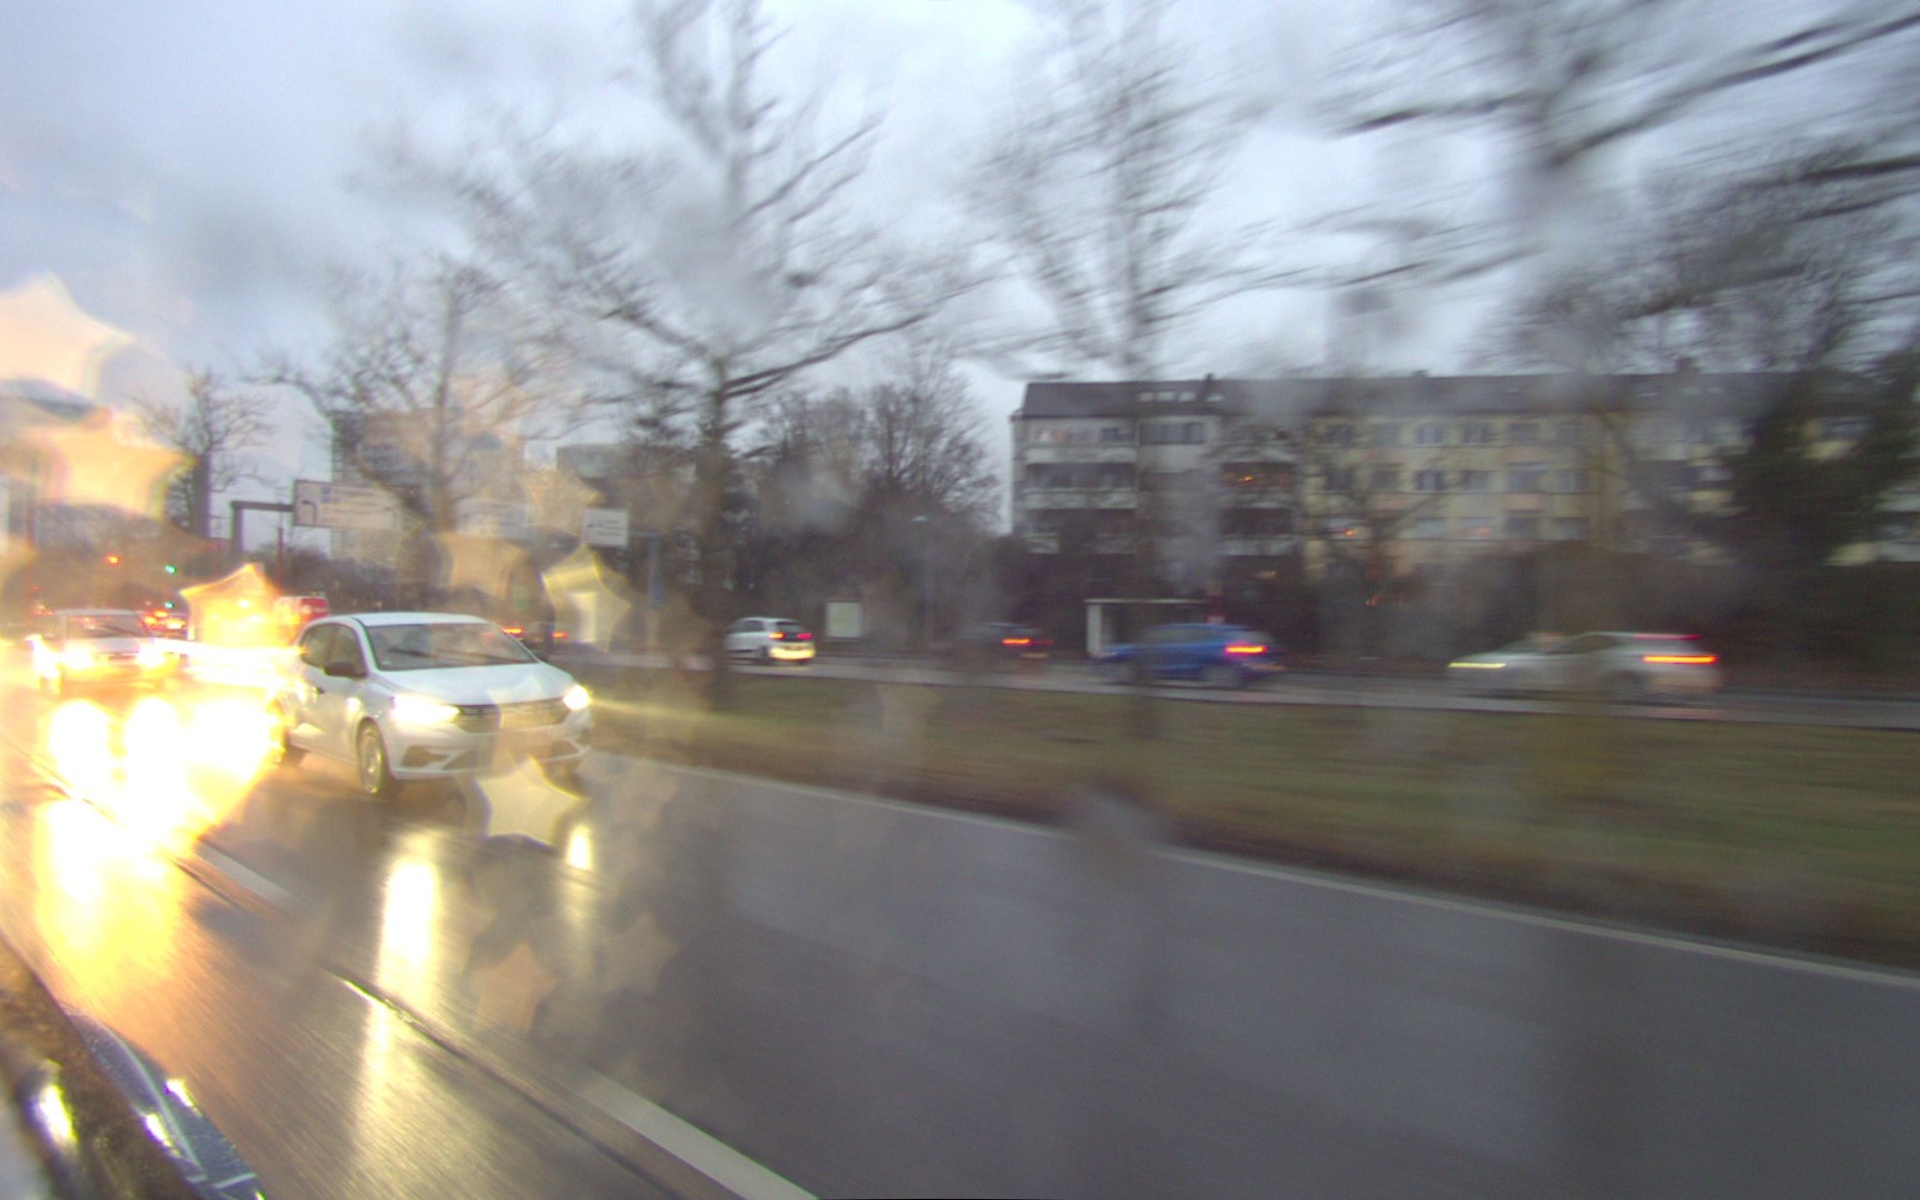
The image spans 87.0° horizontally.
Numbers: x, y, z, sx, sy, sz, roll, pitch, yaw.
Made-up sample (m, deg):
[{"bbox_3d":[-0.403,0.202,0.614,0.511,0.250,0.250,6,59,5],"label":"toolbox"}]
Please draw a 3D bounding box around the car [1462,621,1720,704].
[{"bbox_3d":[12.762,1.193,20.631,4.270,1.500,1.700,-1,-1,41],"label":"car"}]

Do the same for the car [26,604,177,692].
[{"bbox_3d":[-17.463,0.907,20.516,4.163,1.611,1.743,-1,-1,41],"label":"car"}]

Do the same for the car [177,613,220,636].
[{"bbox_3d":[-52.389,1.644,69.596,3.998,1.514,1.553,-1,0,41],"label":"car"}]

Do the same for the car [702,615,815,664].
[{"bbox_3d":[-6.714,1.274,33.500,3.955,1.511,1.631,-1,-1,42],"label":"car"}]

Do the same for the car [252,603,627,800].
[{"bbox_3d":[-5.018,0.774,9.487,4.224,1.451,1.706,-1,-1,41],"label":"car"}]

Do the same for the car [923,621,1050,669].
[{"bbox_3d":[0.790,1.337,31.069,3.701,1.364,1.633,-1,-1,39],"label":"car"}]

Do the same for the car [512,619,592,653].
[{"bbox_3d":[-17.086,1.456,42.315,3.955,1.338,1.521,-1,-1,42],"label":"car"}]

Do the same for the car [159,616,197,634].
[{"bbox_3d":[-56.660,1.804,73.270,3.998,1.206,1.440,-1,0,41],"label":"car"}]

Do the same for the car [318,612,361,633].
[{"bbox_3d":[-43.862,1.578,71.505,4.000,1.415,1.553,-1,0,43],"label":"car"}]

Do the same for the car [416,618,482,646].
[{"bbox_3d":[-25.076,1.544,49.649,3.998,1.321,1.521,-1,-1,42],"label":"car"}]

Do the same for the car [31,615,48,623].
[{"bbox_3d":[-131.589,2.705,144.707,3.998,1.211,1.410,-1,-1,42],"label":"car"}]

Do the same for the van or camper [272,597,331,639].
[{"bbox_3d":[-42.427,1.162,65.138,4.737,2.629,1.942,-1,-2,42],"label":"van or camper"}]

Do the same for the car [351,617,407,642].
[{"bbox_3d":[-32.497,1.624,56.553,3.998,1.302,1.521,-1,-1,42],"label":"car"}]

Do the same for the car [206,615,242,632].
[{"bbox_3d":[-56.636,1.826,77.868,3.998,1.283,1.410,-1,-1,42],"label":"car"}]

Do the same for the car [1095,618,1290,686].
[{"bbox_3d":[5.126,1.100,22.604,3.954,1.364,1.632,-1,-1,41],"label":"car"}]
